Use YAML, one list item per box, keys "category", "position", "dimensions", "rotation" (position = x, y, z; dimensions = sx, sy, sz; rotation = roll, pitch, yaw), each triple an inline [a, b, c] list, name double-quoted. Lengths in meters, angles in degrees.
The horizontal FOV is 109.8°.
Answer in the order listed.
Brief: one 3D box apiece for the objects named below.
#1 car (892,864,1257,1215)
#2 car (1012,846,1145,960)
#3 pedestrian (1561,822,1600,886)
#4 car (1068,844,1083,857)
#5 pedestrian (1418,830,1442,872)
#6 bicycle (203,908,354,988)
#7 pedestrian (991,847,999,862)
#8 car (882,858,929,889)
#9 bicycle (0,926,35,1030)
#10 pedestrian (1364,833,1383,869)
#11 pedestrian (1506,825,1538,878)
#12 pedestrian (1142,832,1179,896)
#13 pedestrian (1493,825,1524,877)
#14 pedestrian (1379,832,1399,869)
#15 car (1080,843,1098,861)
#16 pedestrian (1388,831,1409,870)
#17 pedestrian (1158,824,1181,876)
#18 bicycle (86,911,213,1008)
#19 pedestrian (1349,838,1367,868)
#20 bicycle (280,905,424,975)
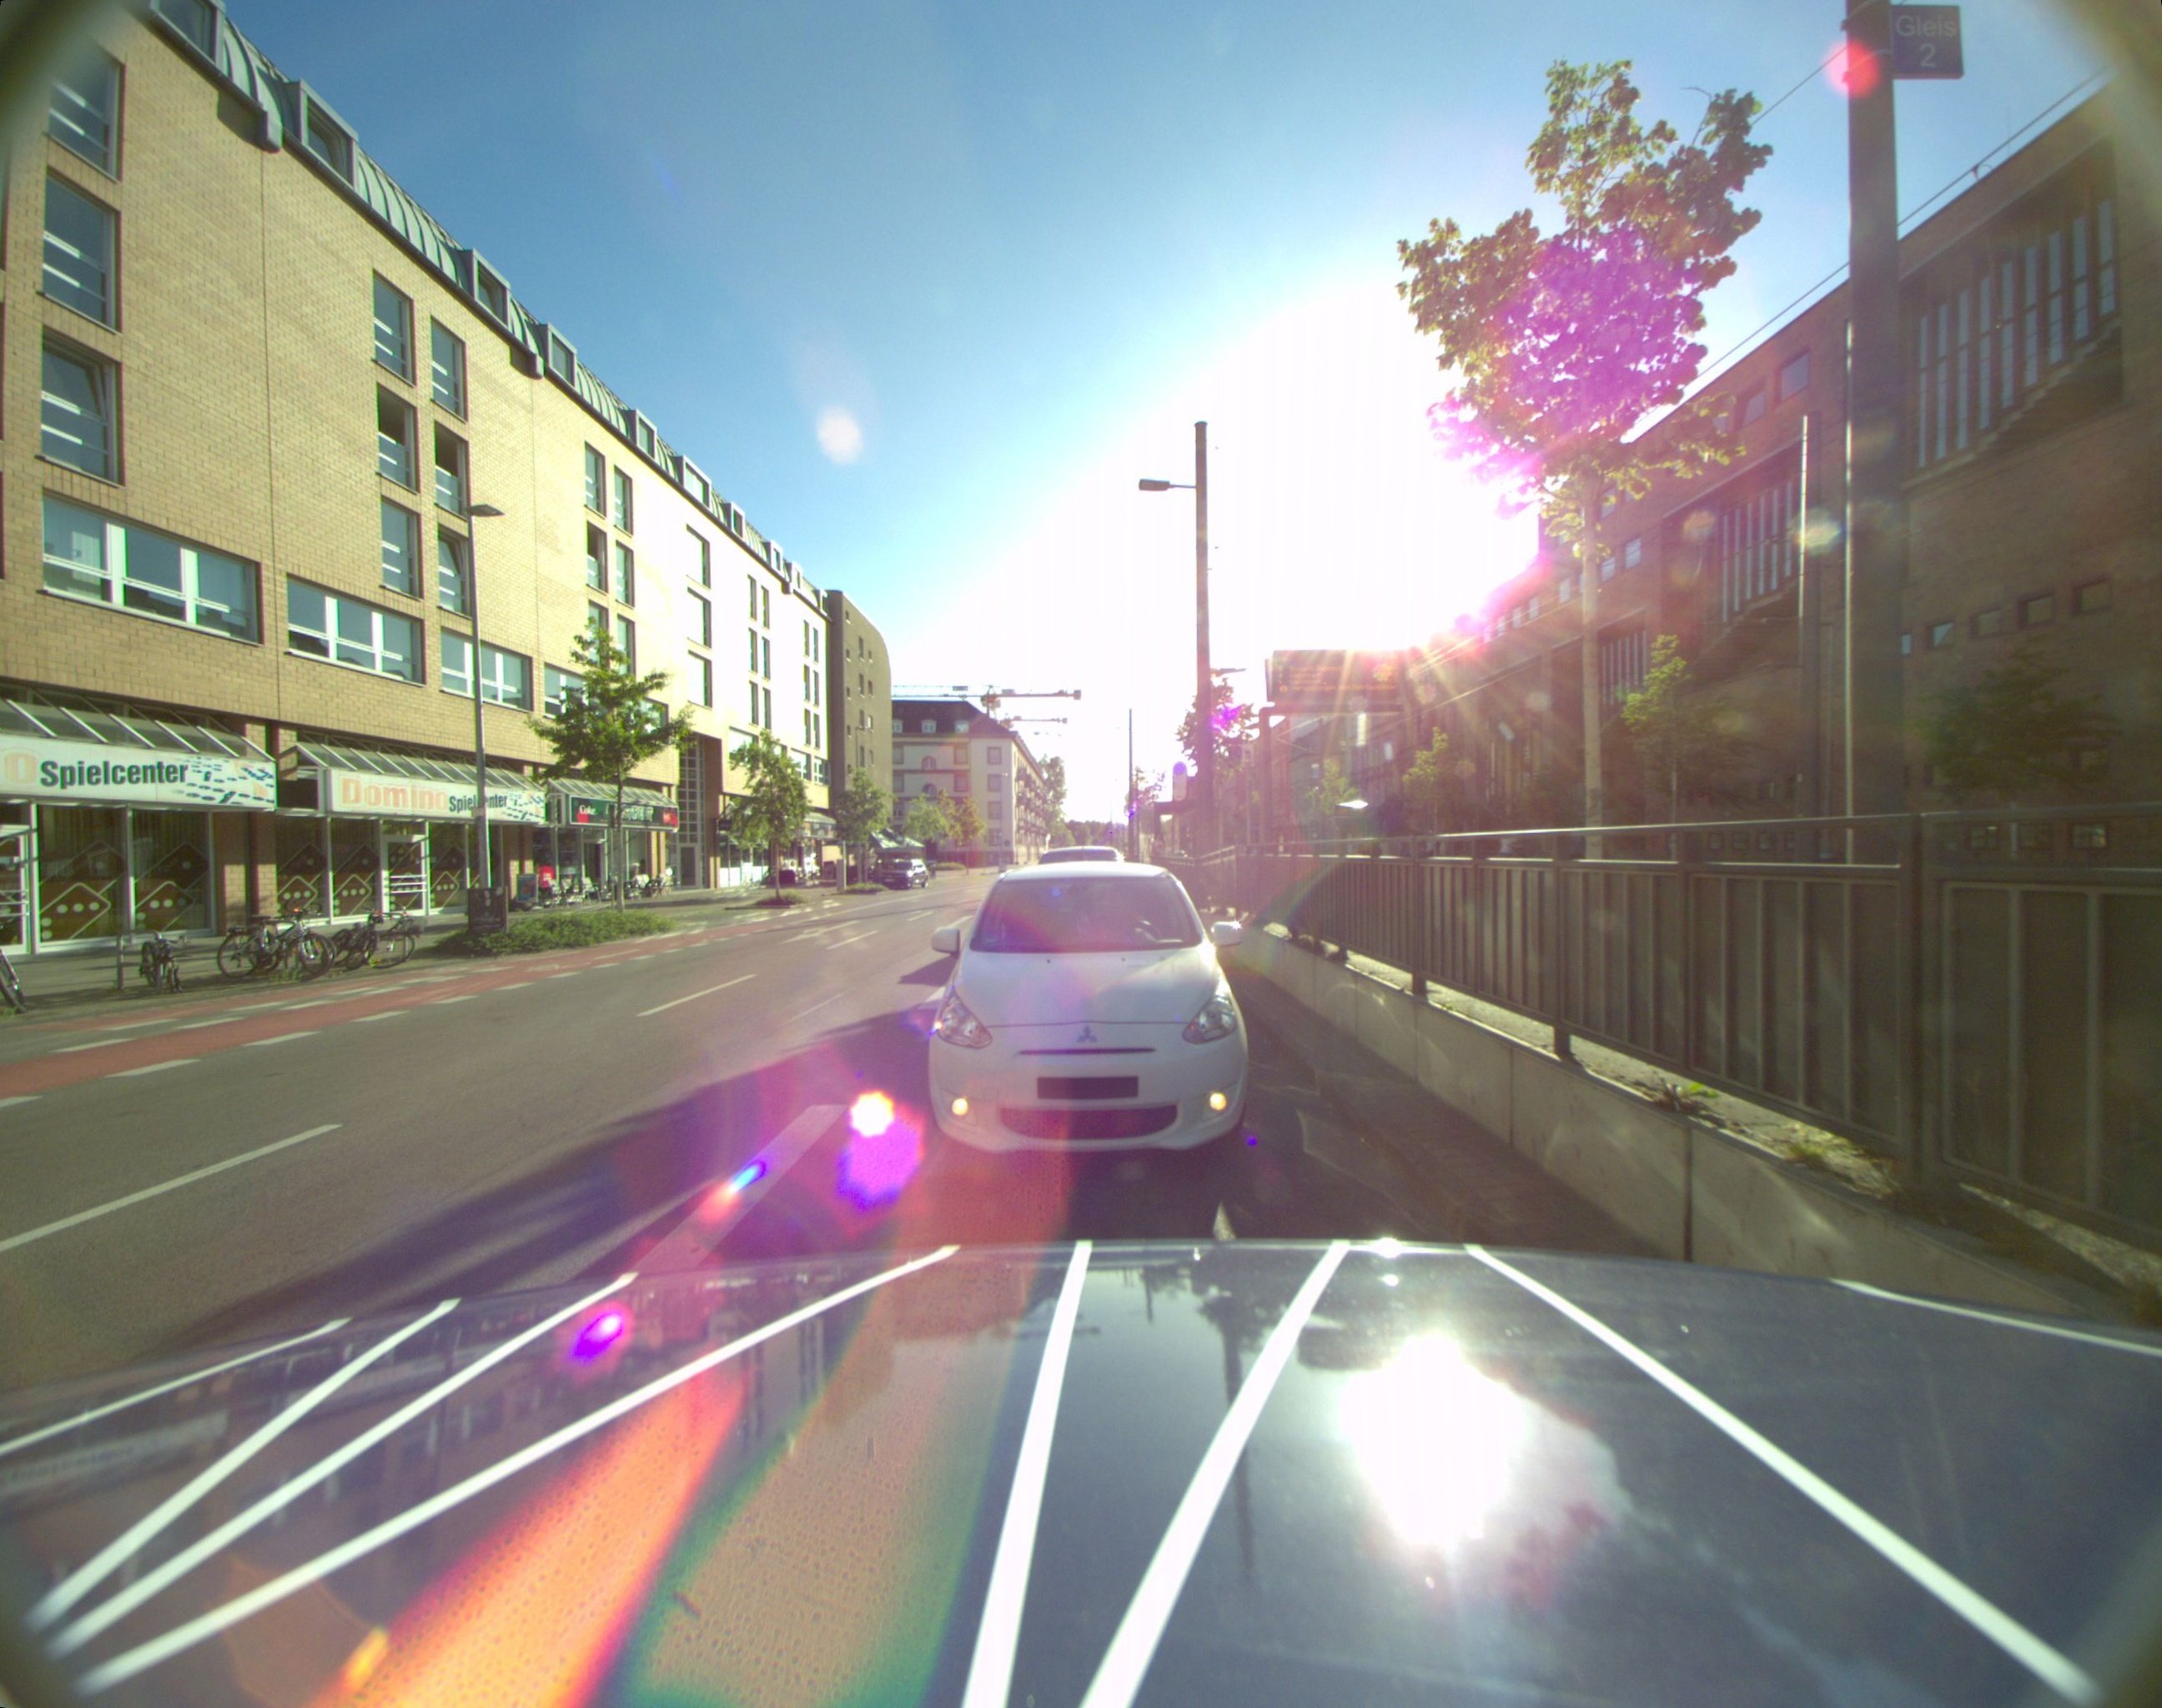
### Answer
- category: "car"
  position: [-0.001, 0.898, 5.617]
  dimensions: [1.640, 1.458, 4.185]
  rotation: [-2, 1, 1]
- category: "car"
  position: [-0.009, 0.719, 13.773]
  dimensions: [1.955, 1.652, 4.355]
  rotation: [-2, 1, 1]
- category: "pedestrian"
  position: [13.927, 0.001, 21.181]
  dimensions: [0.692, 1.732, 0.586]
  rotation: [-1, 1, -2]
- category: "car"
  position: [-0.759, -0.437, 97.351]
  dimensions: [1.830, 1.644, 3.682]
  rotation: [-1, 0, -1]
- category: "pedestrian"
  position: [14.412, -0.125, 31.365]
  dimensions: [0.692, 1.732, 0.586]
  rotation: [-1, 1, -2]
- category: "bicycle"
  position: [-12.348, 1.433, 11.714]
  dimensions: [1.774, 1.135, 0.553]
  rotation: [0, 2, 3]
- category: "pedestrian"
  position: [-9.870, 0.074, 87.352]
  dimensions: [0.804, 1.656, 0.890]
  rotation: [-1, 1, -7]
- category: "car"
  position: [-9.761, 1.048, 42.450]
  dimensions: [1.655, 1.521, 3.692]
  rotation: [-2, 1, 1]
- category: "bicycle"
  position: [-13.375, 1.460, 9.083]
  dimensions: [1.771, 1.142, 0.554]
  rotation: [1, 2, 21]
- category: "pedestrian"
  position: [14.233, -0.144, 36.958]
  dimensions: [0.692, 1.732, 0.586]
  rotation: [-1, 1, -2]
- category: "pedestrian"
  position: [14.511, -0.078, 25.009]
  dimensions: [0.692, 1.732, 0.586]
  rotation: [-1, 1, -2]
- category: "pedestrian"
  position: [2.521, 0.307, 24.166]
  dimensions: [0.782, 2.002, 0.882]
  rotation: [0, 1, 39]
- category: "pedestrian"
  position: [14.465, -0.086, 25.710]
  dimensions: [0.692, 1.732, 0.586]
  rotation: [-1, 1, -2]
- category: "pedestrian"
  position: [14.432, -0.160, 35.594]
  dimensions: [0.692, 1.732, 0.586]
  rotation: [-1, 1, -2]
- category: "car"
  position: [0.886, -0.212, 87.721]
  dimensions: [1.998, 1.958, 4.000]
  rotation: [-1, 0, 1]
- category: "pedestrian"
  position: [14.284, -0.161, 34.159]
  dimensions: [0.692, 1.732, 0.586]
  rotation: [-1, 1, -2]
- category: "pedestrian"
  position: [3.526, -0.159, 30.342]
  dimensions: [0.784, 2.002, 0.880]
  rotation: [-1, 1, 2]
- category: "bicycle"
  position: [-12.815, 1.419, 10.451]
  dimensions: [1.771, 1.142, 0.554]
  rotation: [1, 2, 21]
- category: "pedestrian"
  position: [14.370, -0.052, 39.407]
  dimensions: [0.692, 1.566, 0.586]
  rotation: [-1, 1, -2]
- category: "bicycle"
  position: [-12.386, 1.444, 12.944]
  dimensions: [1.774, 1.065, 0.737]
  rotation: [0, 2, 3]
